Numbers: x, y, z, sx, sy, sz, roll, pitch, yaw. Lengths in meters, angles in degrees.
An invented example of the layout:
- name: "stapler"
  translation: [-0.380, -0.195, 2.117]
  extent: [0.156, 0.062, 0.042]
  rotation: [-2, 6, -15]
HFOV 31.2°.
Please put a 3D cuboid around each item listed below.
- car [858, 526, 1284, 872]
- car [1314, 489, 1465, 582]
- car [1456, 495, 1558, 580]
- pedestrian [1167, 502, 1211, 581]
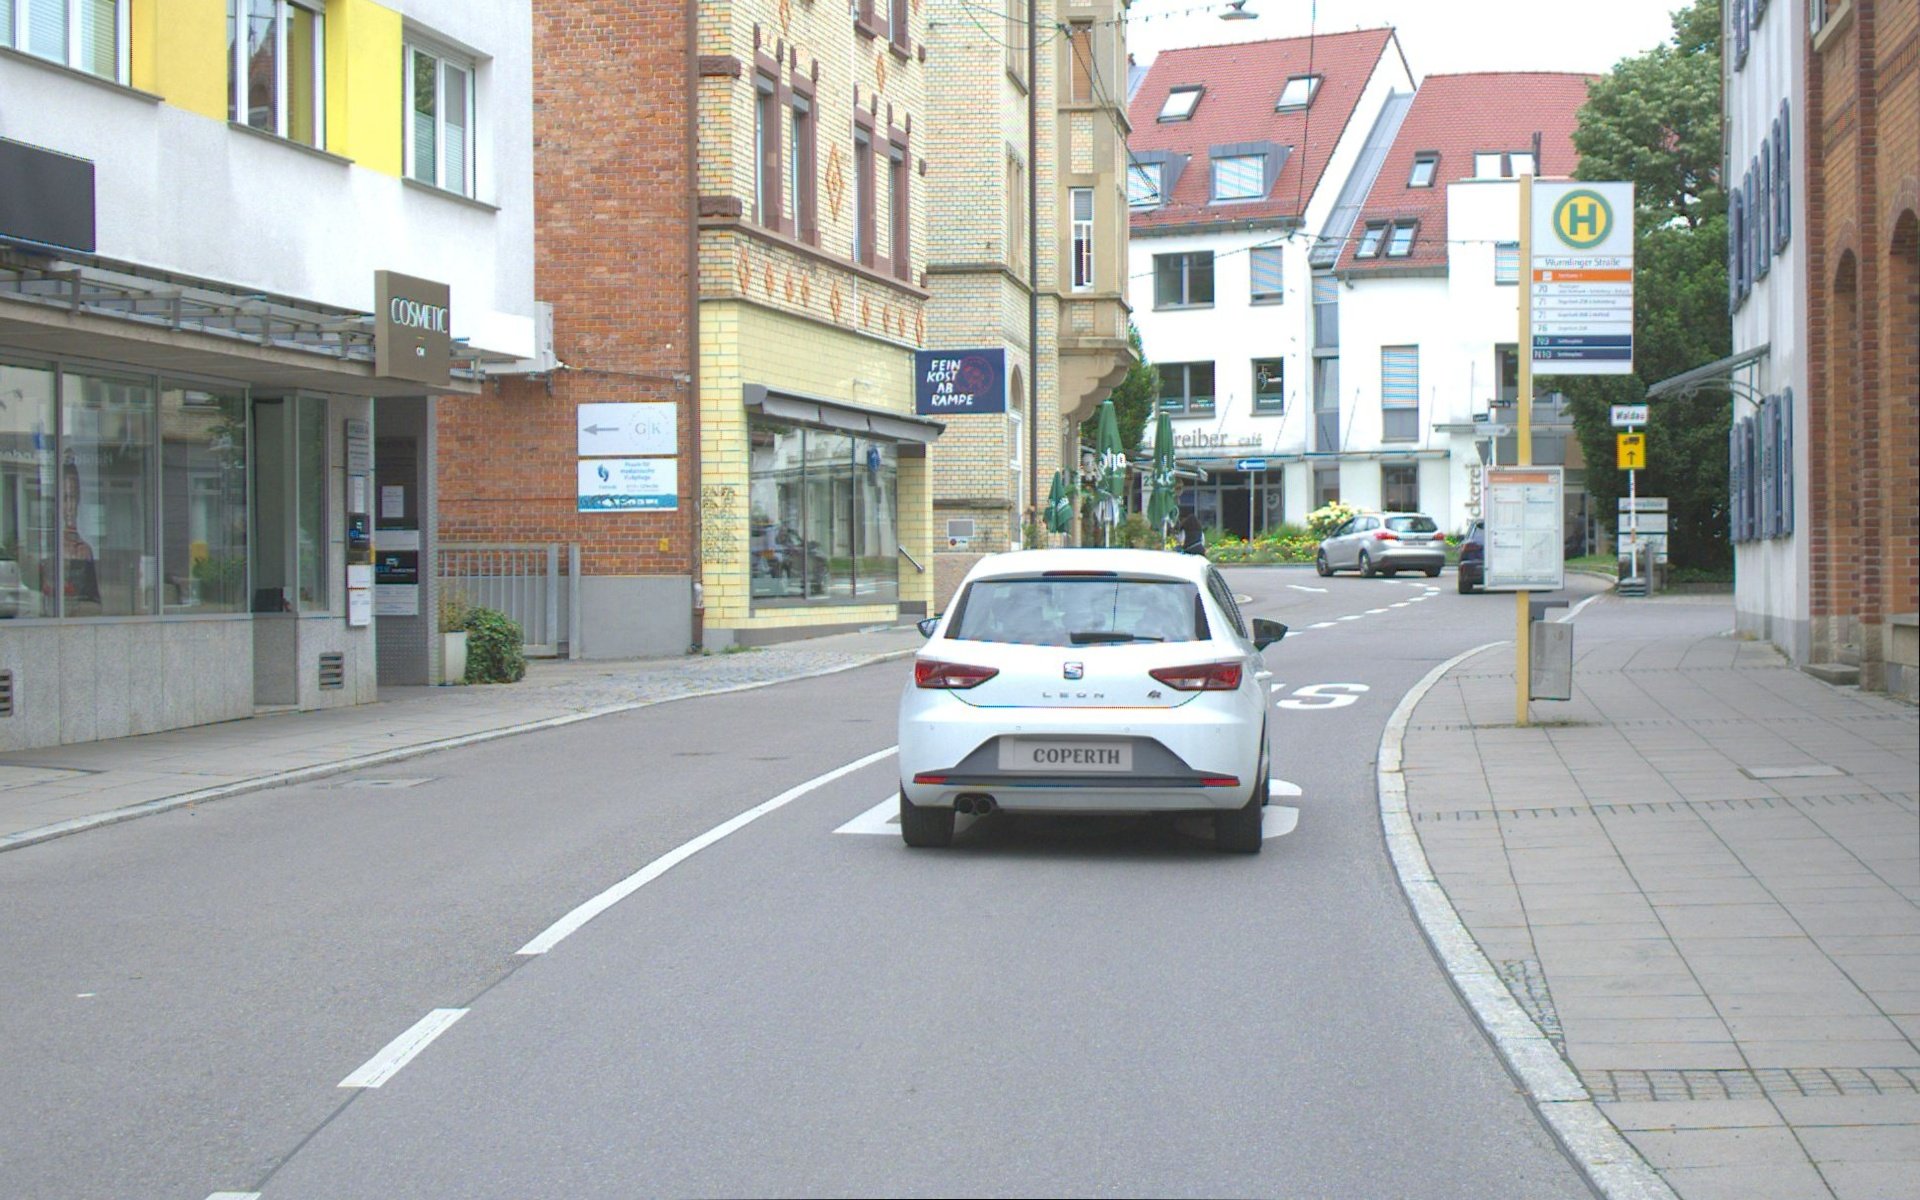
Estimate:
- name: "car"
  translation: [0.676, 0.405, 17.563]
  extent: [1.812, 1.475, 3.870]
  rotation: [1, 2, 7]
- name: "car"
  translation: [9.573, -1.452, 76.927]
  extent: [1.993, 2.007, 4.001]
  rotation: [-1, 1, -15]
- name: "car"
  translation: [10.222, -1.184, 64.203]
  extent: [1.812, 1.475, 3.869]
  rotation: [0, 2, 9]
- name: "pedestrian"
  translation: [4.545, -1.155, 68.162]
  extent: [0.834, 1.546, 0.627]
  rotation: [0, 1, 5]
